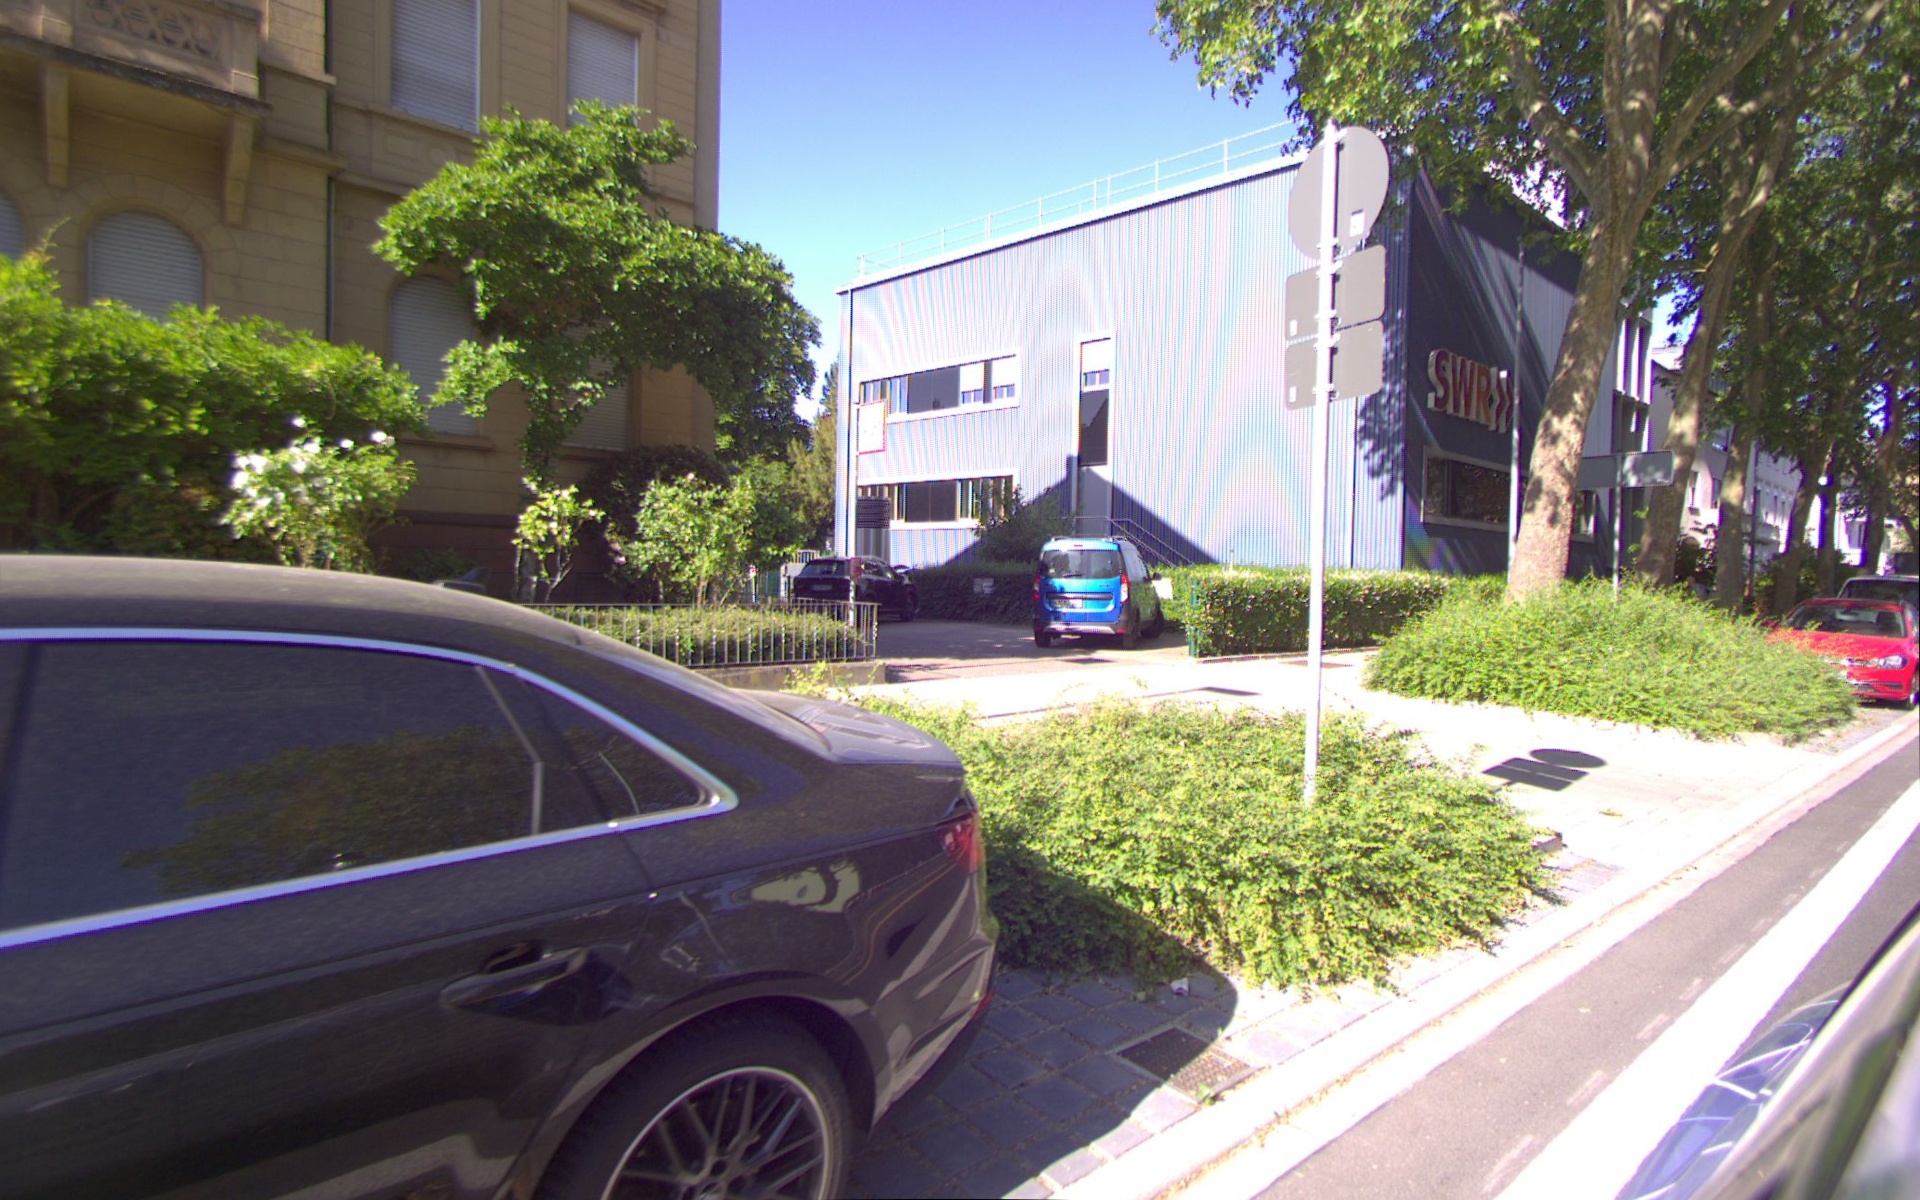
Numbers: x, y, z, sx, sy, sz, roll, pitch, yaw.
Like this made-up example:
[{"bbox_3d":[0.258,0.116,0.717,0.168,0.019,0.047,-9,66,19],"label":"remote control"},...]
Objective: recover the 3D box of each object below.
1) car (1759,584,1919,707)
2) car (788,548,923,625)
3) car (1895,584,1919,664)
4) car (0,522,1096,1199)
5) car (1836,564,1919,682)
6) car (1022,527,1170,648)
[{"bbox_3d":[13.295,0.567,14.899,3.928,1.536,1.673,0,2,-41],"label":"car"},{"bbox_3d":[-2.371,-0.366,23.944,1.776,1.658,3.979,0,2,17],"label":"car"},{"bbox_3d":[21.994,0.516,22.244,4.146,1.655,1.630,0,2,-41],"label":"car"},{"bbox_3d":[-1.937,0.605,1.528,4.398,1.429,1.720,0,5,-41],"label":"car"},{"bbox_3d":[17.889,0.380,18.832,4.428,1.990,1.752,0,2,-41],"label":"car"},{"bbox_3d":[2.510,-0.272,17.828,1.777,1.844,3.975,2,2,20],"label":"car"}]
